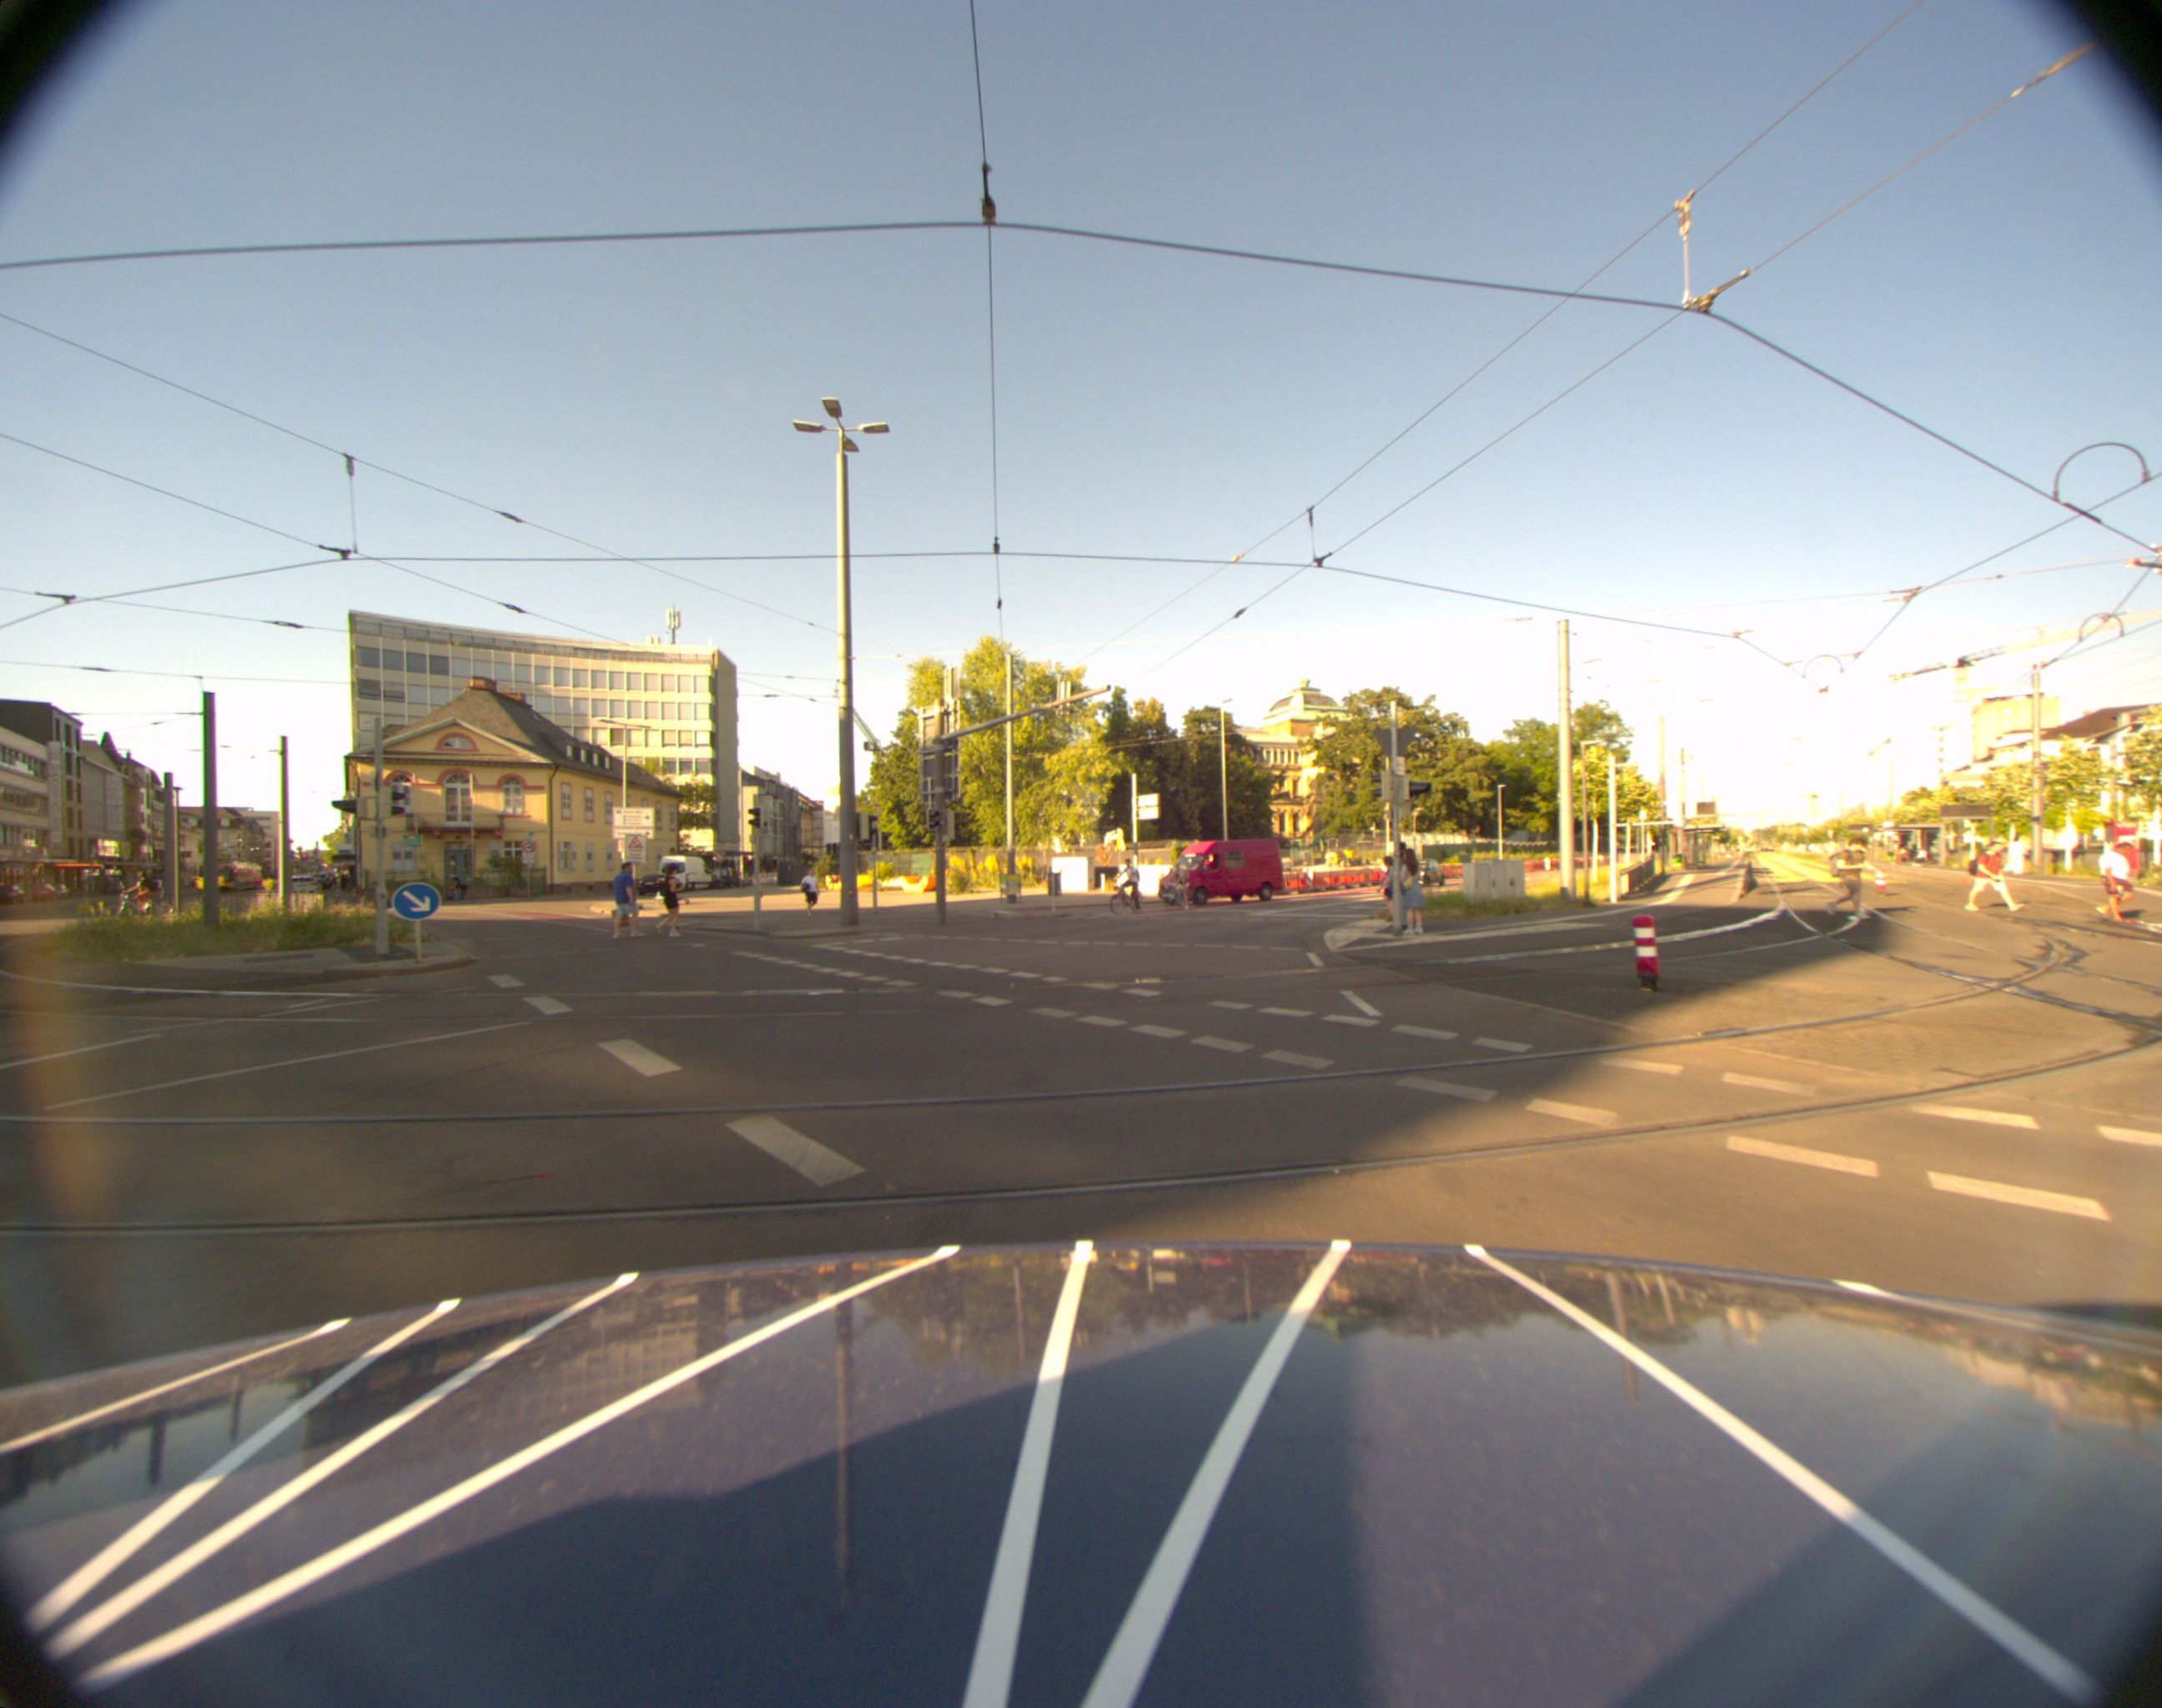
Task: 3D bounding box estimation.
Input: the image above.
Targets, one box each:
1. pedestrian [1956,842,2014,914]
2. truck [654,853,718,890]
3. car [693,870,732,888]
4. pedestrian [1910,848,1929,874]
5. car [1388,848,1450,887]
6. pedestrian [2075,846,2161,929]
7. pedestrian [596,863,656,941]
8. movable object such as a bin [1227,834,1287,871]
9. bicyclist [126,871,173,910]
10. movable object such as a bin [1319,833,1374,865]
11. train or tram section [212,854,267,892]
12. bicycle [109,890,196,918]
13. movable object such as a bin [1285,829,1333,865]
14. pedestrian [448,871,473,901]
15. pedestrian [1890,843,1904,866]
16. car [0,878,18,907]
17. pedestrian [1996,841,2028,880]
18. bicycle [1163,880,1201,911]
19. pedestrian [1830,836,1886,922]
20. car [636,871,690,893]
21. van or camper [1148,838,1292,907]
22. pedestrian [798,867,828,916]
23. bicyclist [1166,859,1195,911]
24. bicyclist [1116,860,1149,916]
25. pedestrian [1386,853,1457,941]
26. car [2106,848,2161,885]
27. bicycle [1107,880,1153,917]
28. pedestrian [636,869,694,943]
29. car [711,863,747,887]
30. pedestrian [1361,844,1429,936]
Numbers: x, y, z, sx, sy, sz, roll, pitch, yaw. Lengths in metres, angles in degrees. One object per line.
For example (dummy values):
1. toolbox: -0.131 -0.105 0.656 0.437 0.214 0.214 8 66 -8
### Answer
1. pedestrian: 21.808 0.569 18.343 0.786 1.688 0.621 -3 -1 44
2. truck: -29.114 1.308 56.220 2.301 2.533 5.636 -2 -1 -8
3. car: -29.948 2.002 61.909 1.714 1.356 3.760 -2 -1 -7
4. pedestrian: 55.433 0.455 50.235 0.658 1.682 0.773 -3 -1 39
5. car: 18.479 0.711 41.460 1.995 2.001 4.008 -3 -1 40
6. pedestrian: 20.653 0.670 15.125 0.786 1.539 0.620 6 -2 12
7. pedestrian: -10.717 1.109 17.940 0.697 1.782 1.042 -2 0 3
8. movable object such as a bin: 13.549 -0.120 58.415 5.024 2.667 1.995 -1 -1 -45
9. bicyclist: -35.714 1.392 29.144 0.723 1.448 0.899 -2 -1 16
10. movable object such as a bin: 25.014 -0.483 71.501 5.878 2.799 1.995 -2 -1 -39
11. train or tram section: -91.899 2.057 82.984 13.322 3.811 3.723 -1 0 42
12. bicycle: -35.677 1.904 29.231 0.723 0.942 1.994 -2 -1 17
13. movable object such as a bin: 22.289 -0.714 74.114 5.385 3.309 1.995 -1 -1 -45
14. pedestrian: -34.676 1.808 42.461 0.685 1.632 0.819 -2 0 15
15. pedestrian: 62.124 0.050 57.836 0.773 1.682 0.658 -2 -1 -43
16. car: -75.508 2.675 52.123 2.004 2.001 4.860 -2 -1 -42
17. pedestrian: 40.449 0.275 33.018 0.786 1.663 0.621 -3 -1 44
18. bicycle: 3.510 1.435 26.343 0.541 0.995 1.697 -3 -1 36
19. pedestrian: 17.118 0.551 16.763 0.786 1.853 0.621 -3 -1 44
20. car: -27.789 1.833 50.666 1.714 1.356 4.193 -2 -1 -7
21. van or camper: 5.693 0.688 30.728 5.924 2.514 1.995 -2 -1 -33
22. pedestrian: -9.988 1.389 28.304 0.762 1.751 1.005 -2 -1 -33
23. bicyclist: 3.431 1.062 26.198 0.614 1.735 0.794 -2 -1 36
24. bicyclist: 1.688 1.083 24.743 0.541 1.757 1.062 -2 -1 36
25. pedestrian: 6.587 0.817 14.719 0.900 1.630 0.787 -2 0 -15
26. car: 46.661 0.515 32.881 1.882 1.499 3.951 -3 -1 41
27. bicycle: 1.592 1.415 24.569 0.541 1.094 1.812 -3 -1 36
28. pedestrian: -9.833 1.198 17.991 0.697 1.672 1.042 -2 -1 3
29. car: -30.638 1.793 66.207 1.714 1.969 3.760 -2 -1 -7
30. pedestrian: 6.384 0.719 15.484 0.900 1.790 0.787 -2 -2 -15
